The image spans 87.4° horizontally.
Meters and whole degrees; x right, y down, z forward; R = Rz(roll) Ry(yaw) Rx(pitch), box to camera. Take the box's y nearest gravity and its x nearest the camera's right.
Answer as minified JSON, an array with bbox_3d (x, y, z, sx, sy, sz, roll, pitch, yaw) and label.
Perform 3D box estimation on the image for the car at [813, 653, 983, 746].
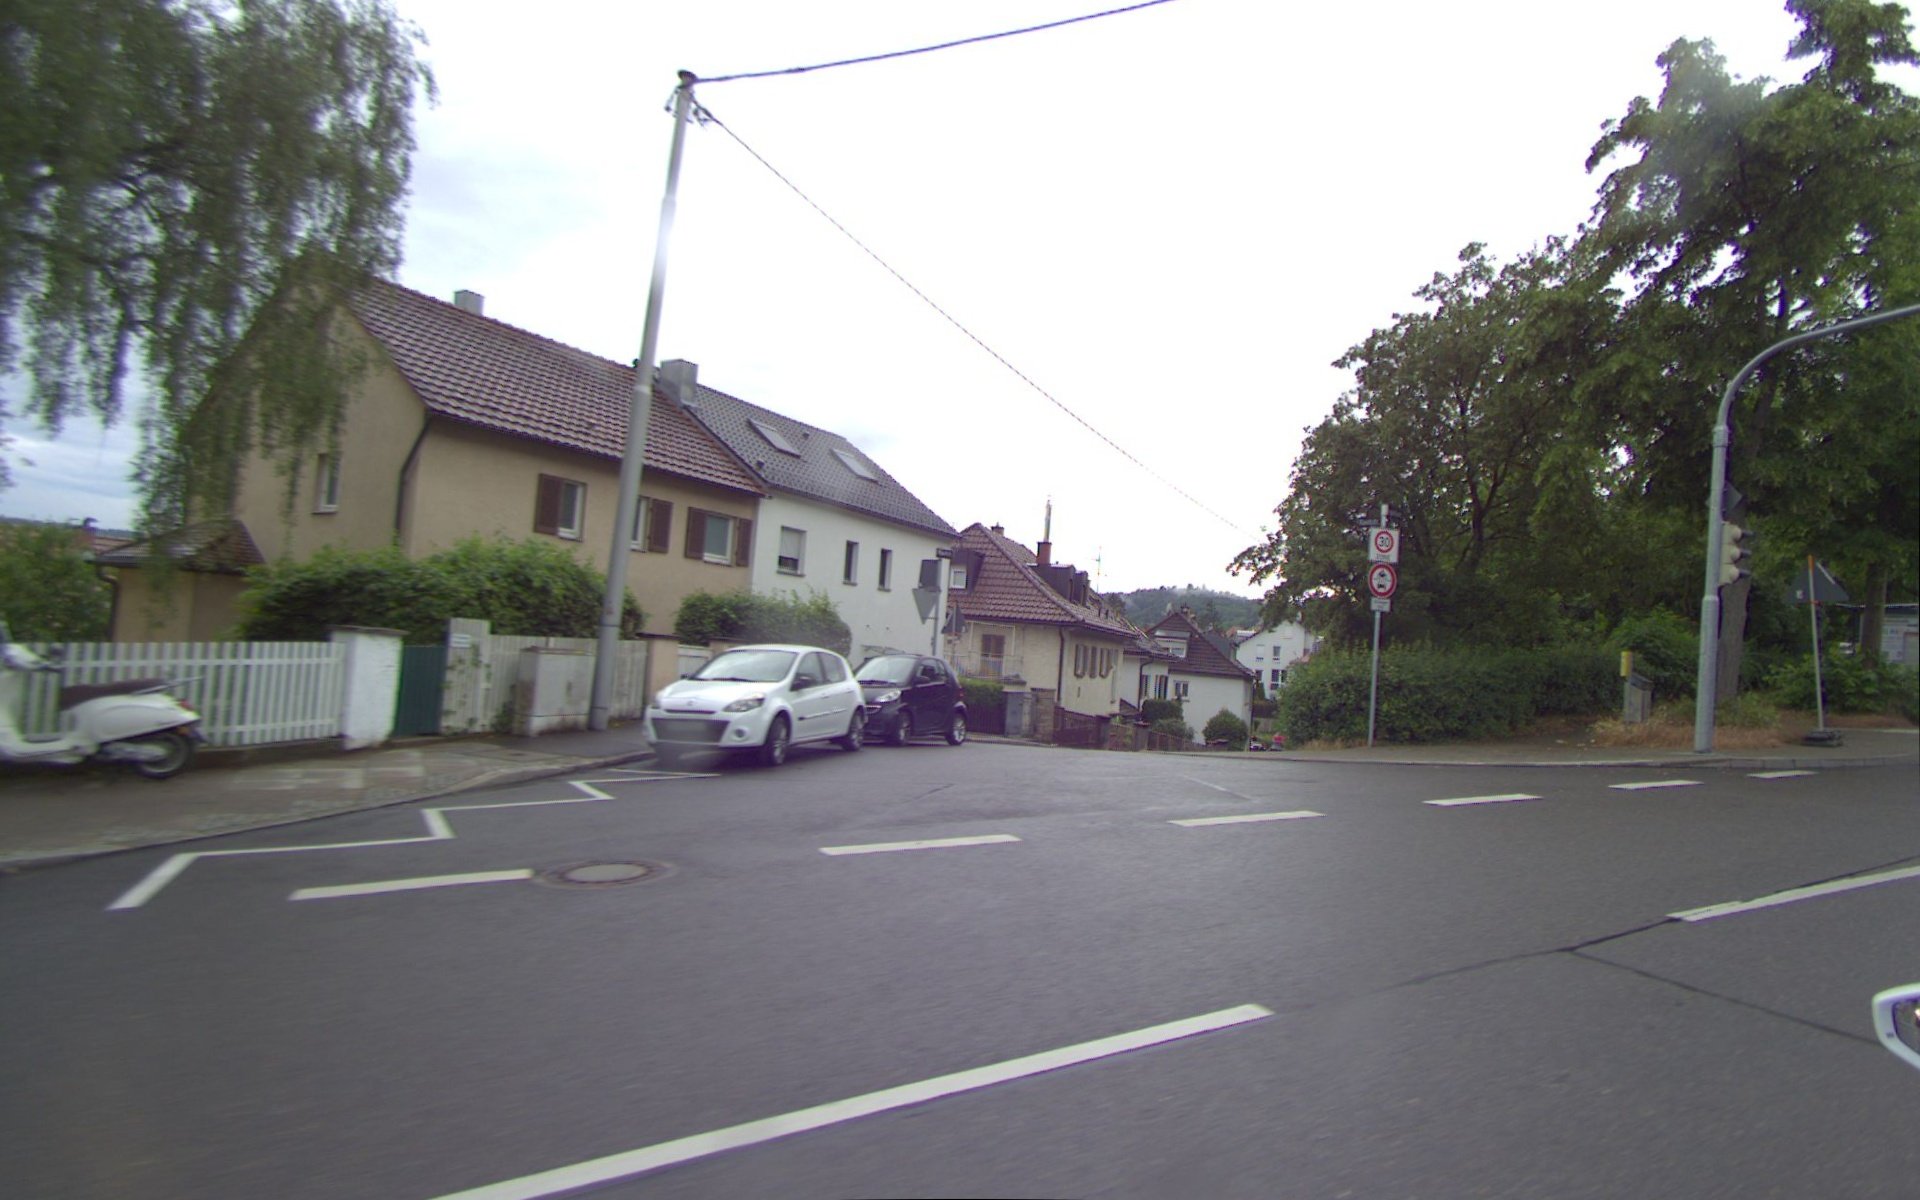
[{"bbox_3d":[-1.002,1.726,17.392,1.538,1.448,2.915,-2,-6,31],"label":"car"}]

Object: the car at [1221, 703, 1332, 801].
[{"bbox_3d":[7.965,3.680,25.052,1.813,1.772,3.996,7,1,27],"label":"car"}]

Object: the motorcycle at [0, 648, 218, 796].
[{"bbox_3d":[-7.336,0.978,8.342,1.824,1.146,0.587,2,-2,-33],"label":"motorcycle"}]

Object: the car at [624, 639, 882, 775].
[{"bbox_3d":[-2.563,1.362,13.498,1.655,1.528,4.015,-1,-4,17],"label":"car"}]
